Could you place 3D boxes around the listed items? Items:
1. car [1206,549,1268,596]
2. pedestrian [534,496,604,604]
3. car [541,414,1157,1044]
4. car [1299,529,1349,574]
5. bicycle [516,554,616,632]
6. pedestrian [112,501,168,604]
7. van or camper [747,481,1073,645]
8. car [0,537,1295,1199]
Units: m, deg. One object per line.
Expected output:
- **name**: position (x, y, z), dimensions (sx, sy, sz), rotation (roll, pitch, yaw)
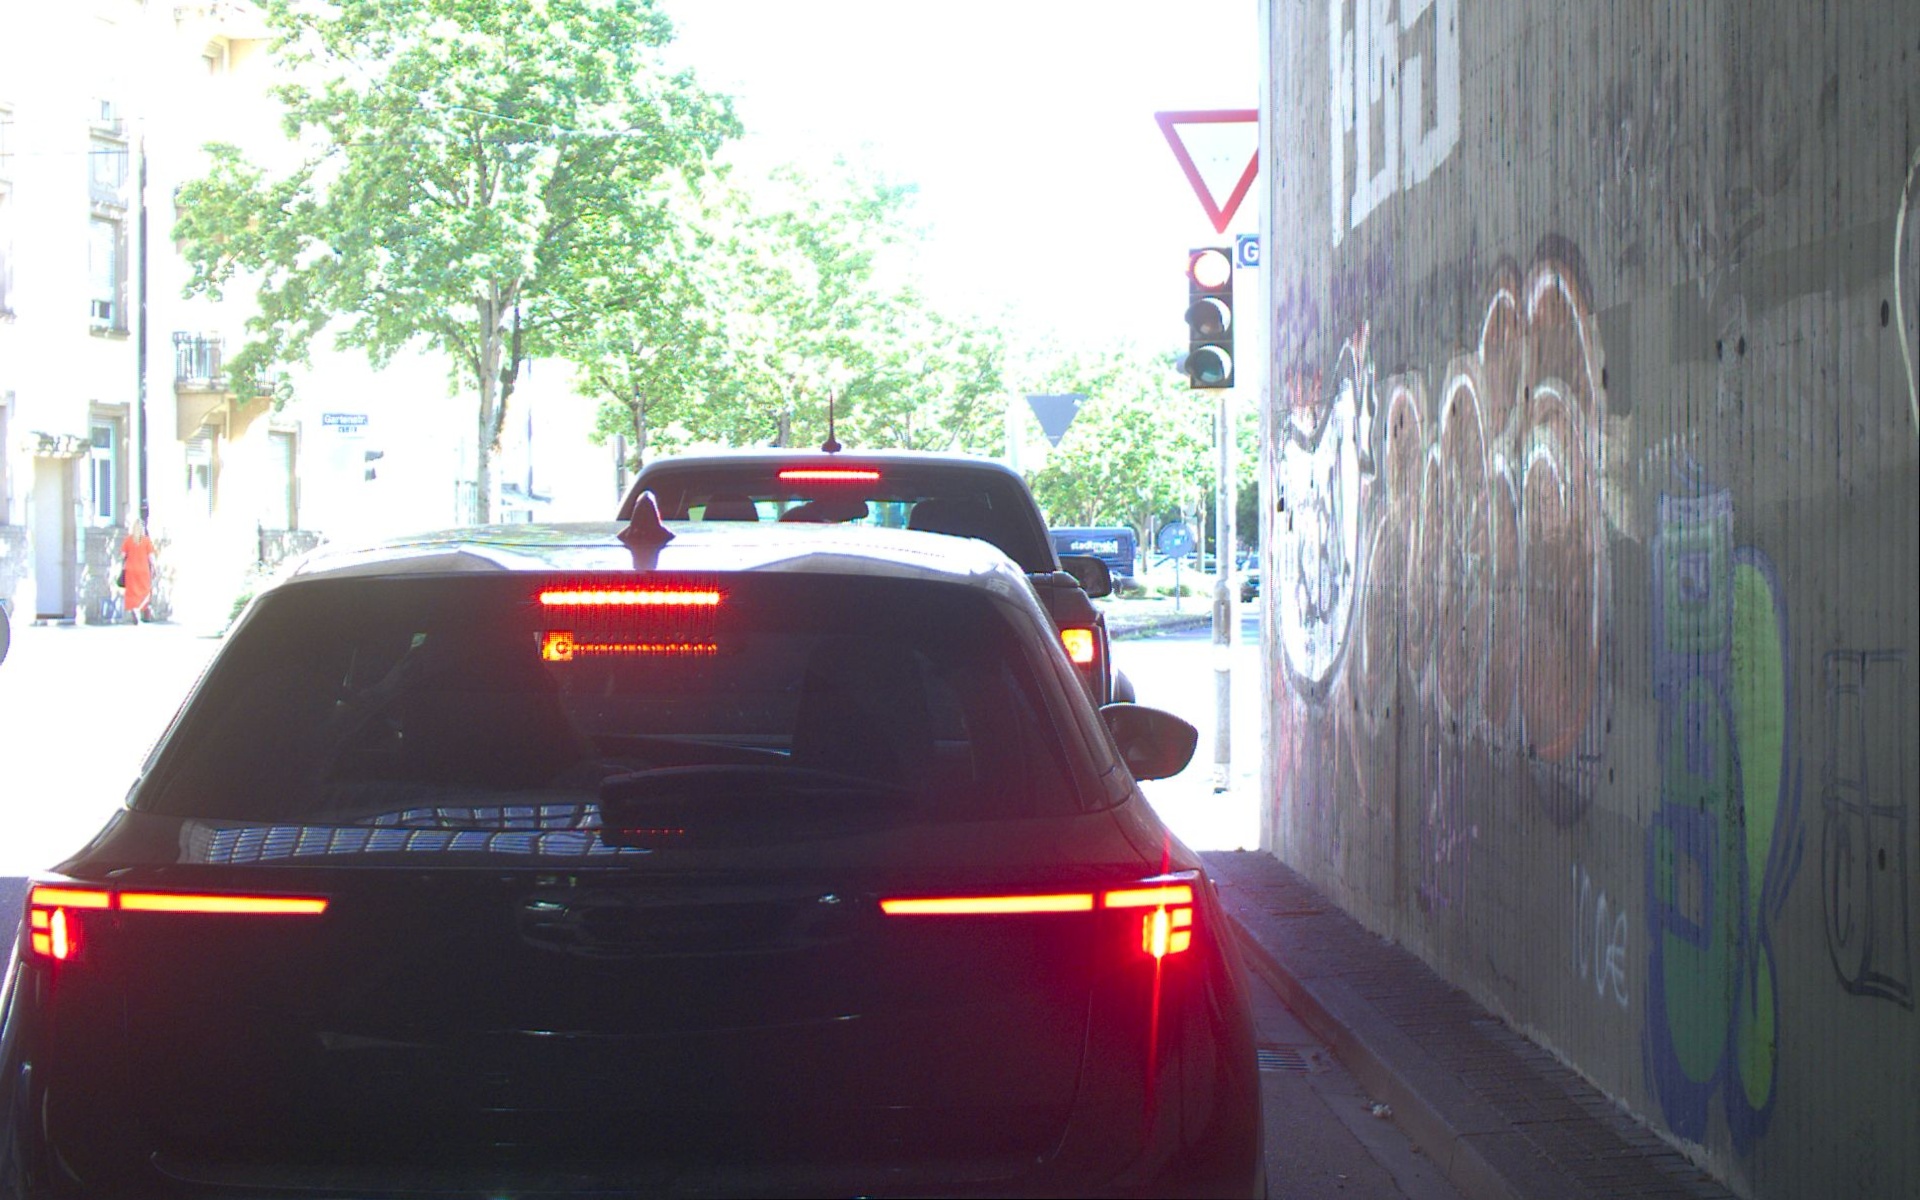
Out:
- **car**: position (8.705, -0.880, 107.845), dimensions (1.599, 1.447, 3.794), rotation (0, 1, 10)
- **pedestrian**: position (-5.845, -0.746, 51.415), dimensions (0.736, 1.579, 0.889), rotation (1, 0, 15)
- **car**: position (-0.343, 0.340, 12.062), dimensions (1.786, 1.827, 3.961), rotation (1, 1, 0)
- **car**: position (13.292, -1.788, 125.512), dimensions (1.584, 1.634, 3.804), rotation (0, 1, 10)
- **bicycle**: position (-5.871, -0.112, 51.340), dimensions (0.737, 1.126, 2.025), rotation (0, 1, 17)
- **pedestrian**: position (-13.776, -0.794, 57.758), dimensions (0.623, 1.699, 0.723), rotation (1, 0, 13)
- **van or camper**: position (-0.593, -0.470, 43.449), dimensions (3.878, 2.007, 2.000), rotation (0, 1, 7)
- **car**: position (-0.492, 0.650, 6.171), dimensions (1.753, 1.493, 4.000), rotation (1, 1, 0)
